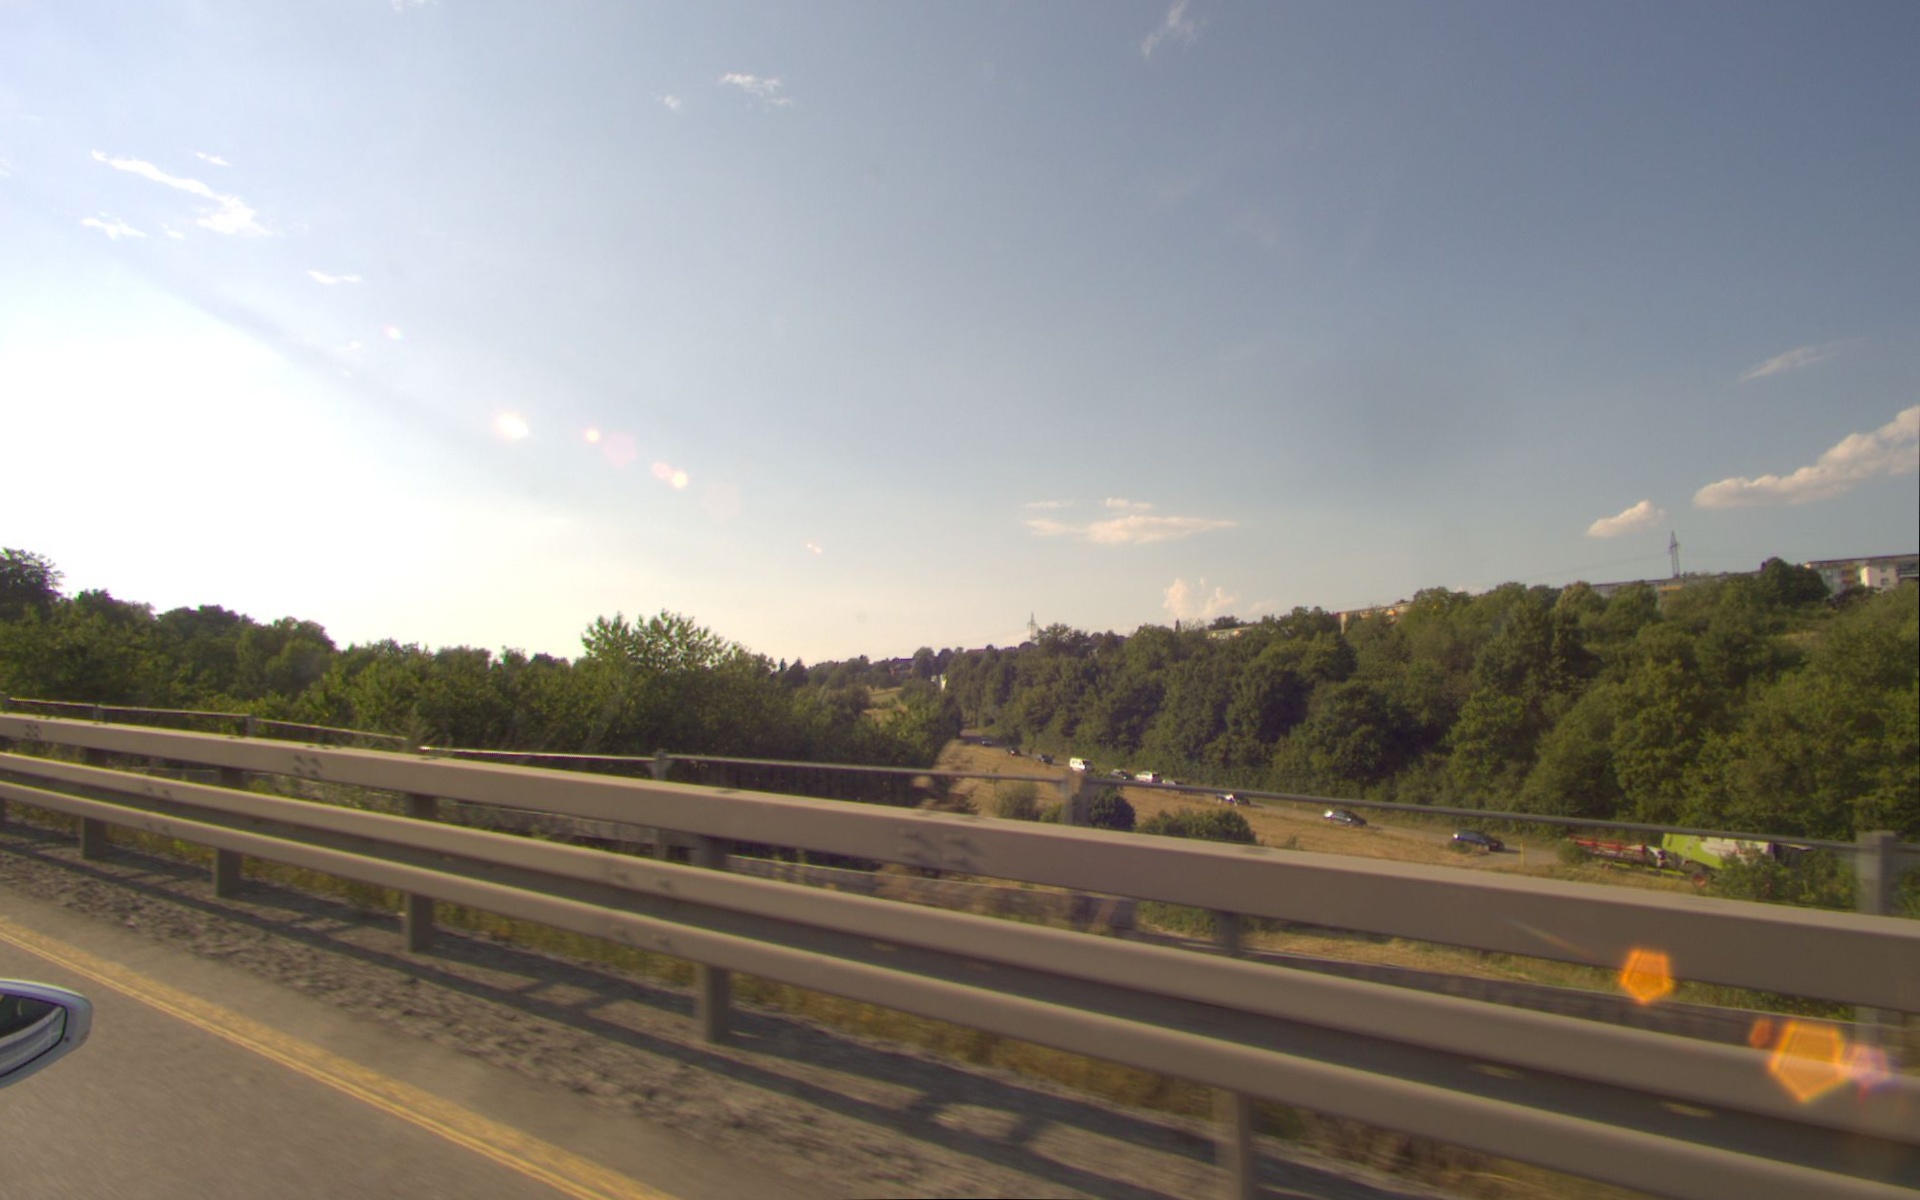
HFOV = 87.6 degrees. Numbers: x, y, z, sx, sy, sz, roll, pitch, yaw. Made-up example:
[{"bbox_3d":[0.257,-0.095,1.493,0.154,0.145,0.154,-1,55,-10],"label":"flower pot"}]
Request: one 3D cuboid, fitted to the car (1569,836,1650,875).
[{"bbox_3d":[50.710,19.899,78.286,1.684,1.858,5.104,0,-2,-31],"label":"car"}]
